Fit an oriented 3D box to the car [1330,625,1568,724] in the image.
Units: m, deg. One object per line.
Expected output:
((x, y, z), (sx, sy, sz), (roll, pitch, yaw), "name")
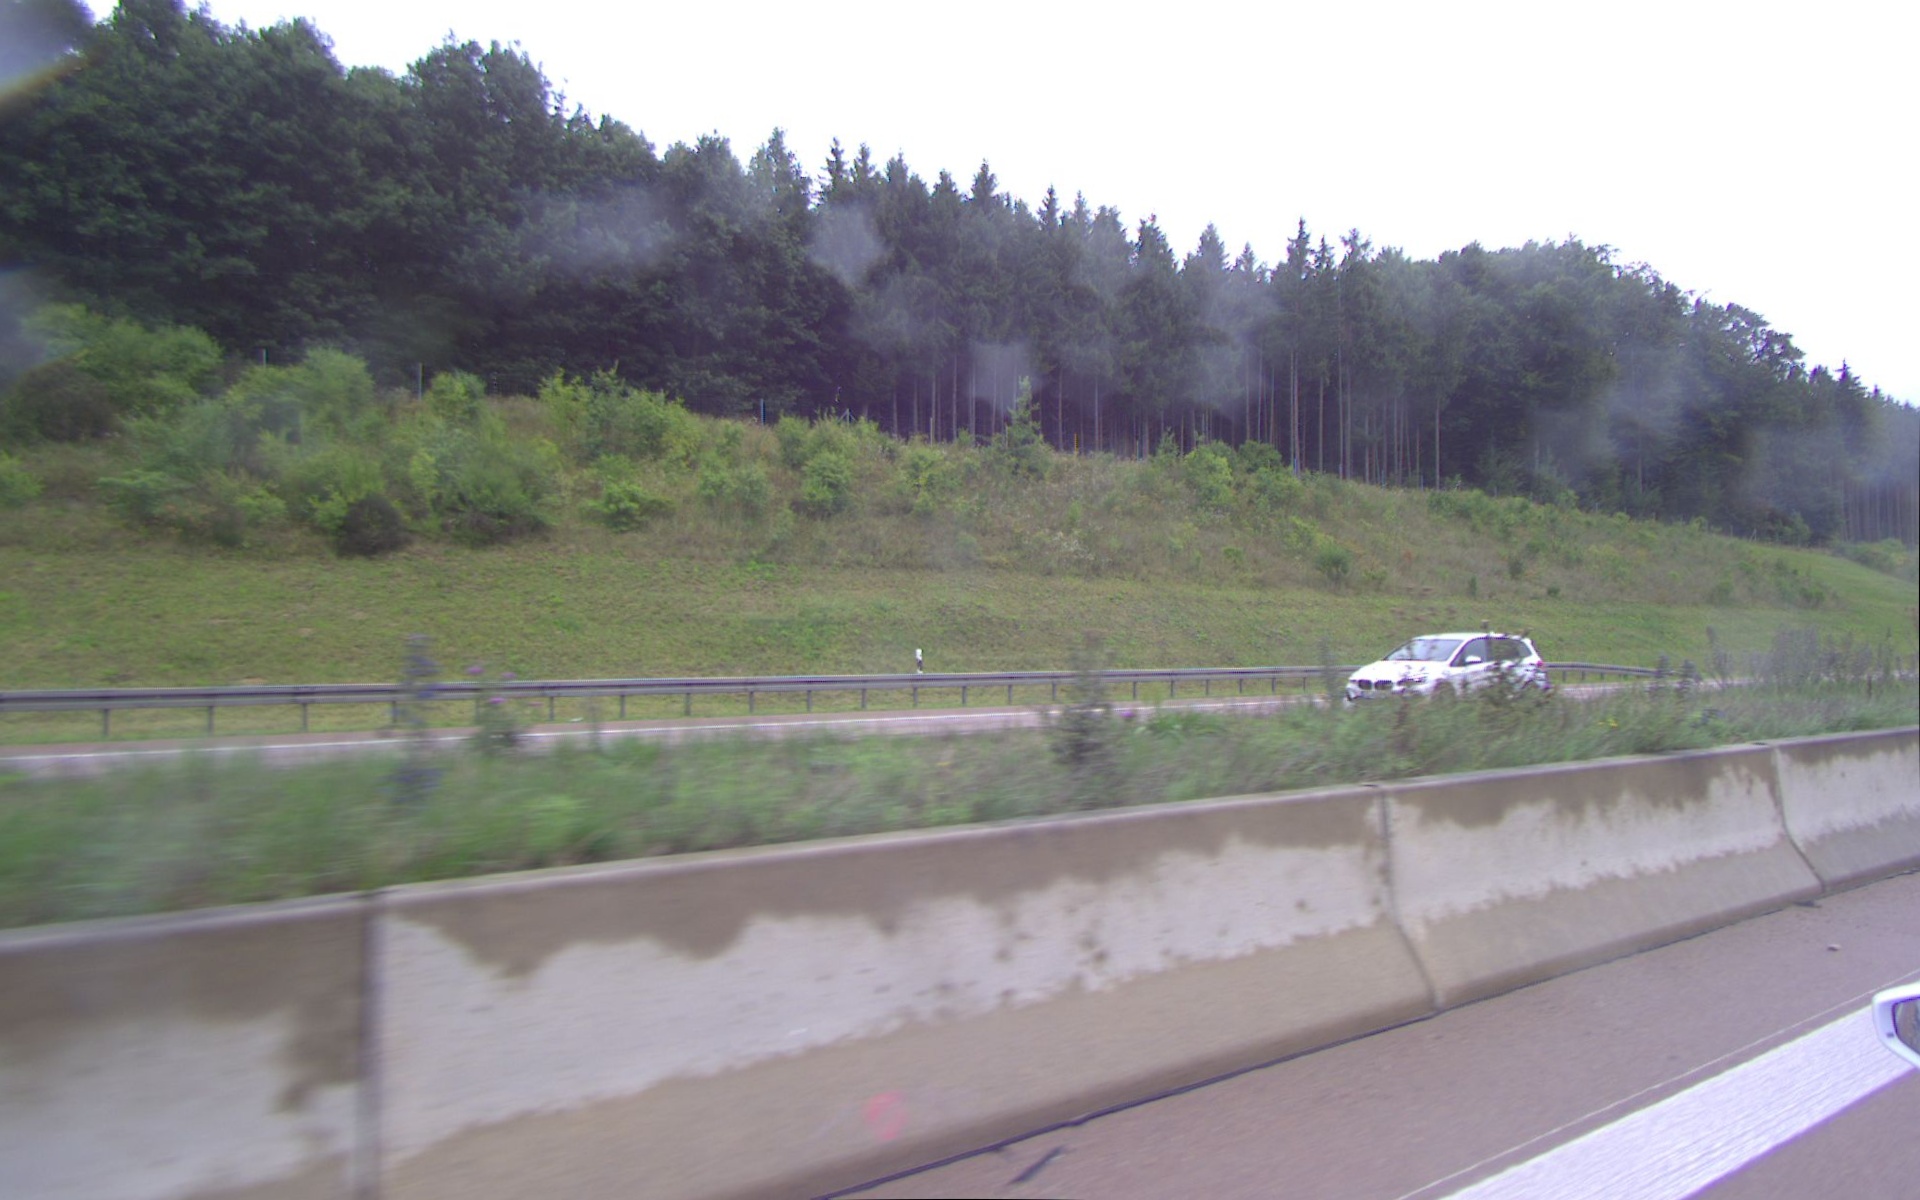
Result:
((9.674, 1.425, 19.770), (4.894, 1.745, 1.806), (2, -3, -30), "car")
